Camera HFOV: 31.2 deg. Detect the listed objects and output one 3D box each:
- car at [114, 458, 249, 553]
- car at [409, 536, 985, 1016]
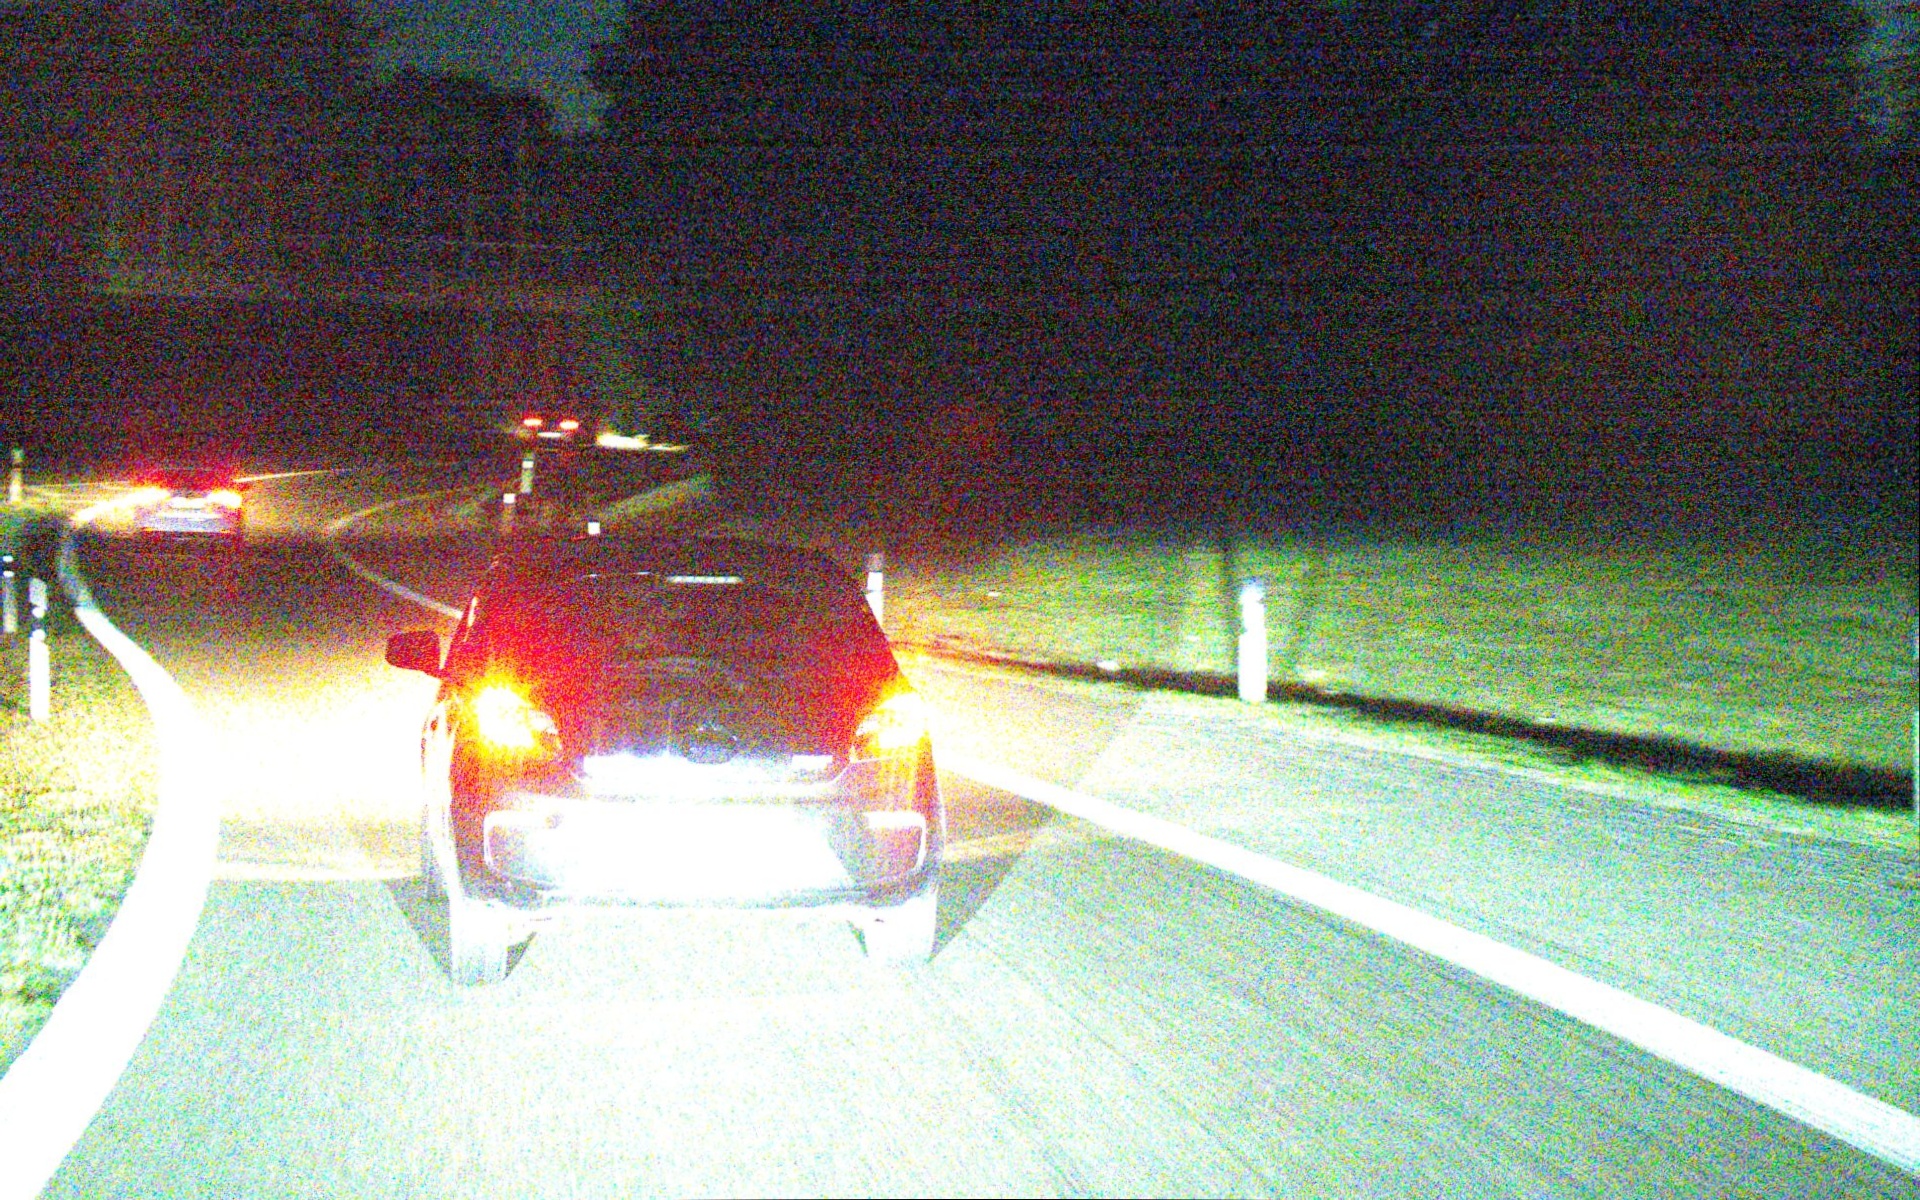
[{"bbox_3d":[-13.216,-1.629,58.226,1.951,1.532,4.243,-1,2,-16],"label":"car"},{"bbox_3d":[-1.124,0.513,12.714,1.691,1.473,4.001,0,1,-11],"label":"car"}]
